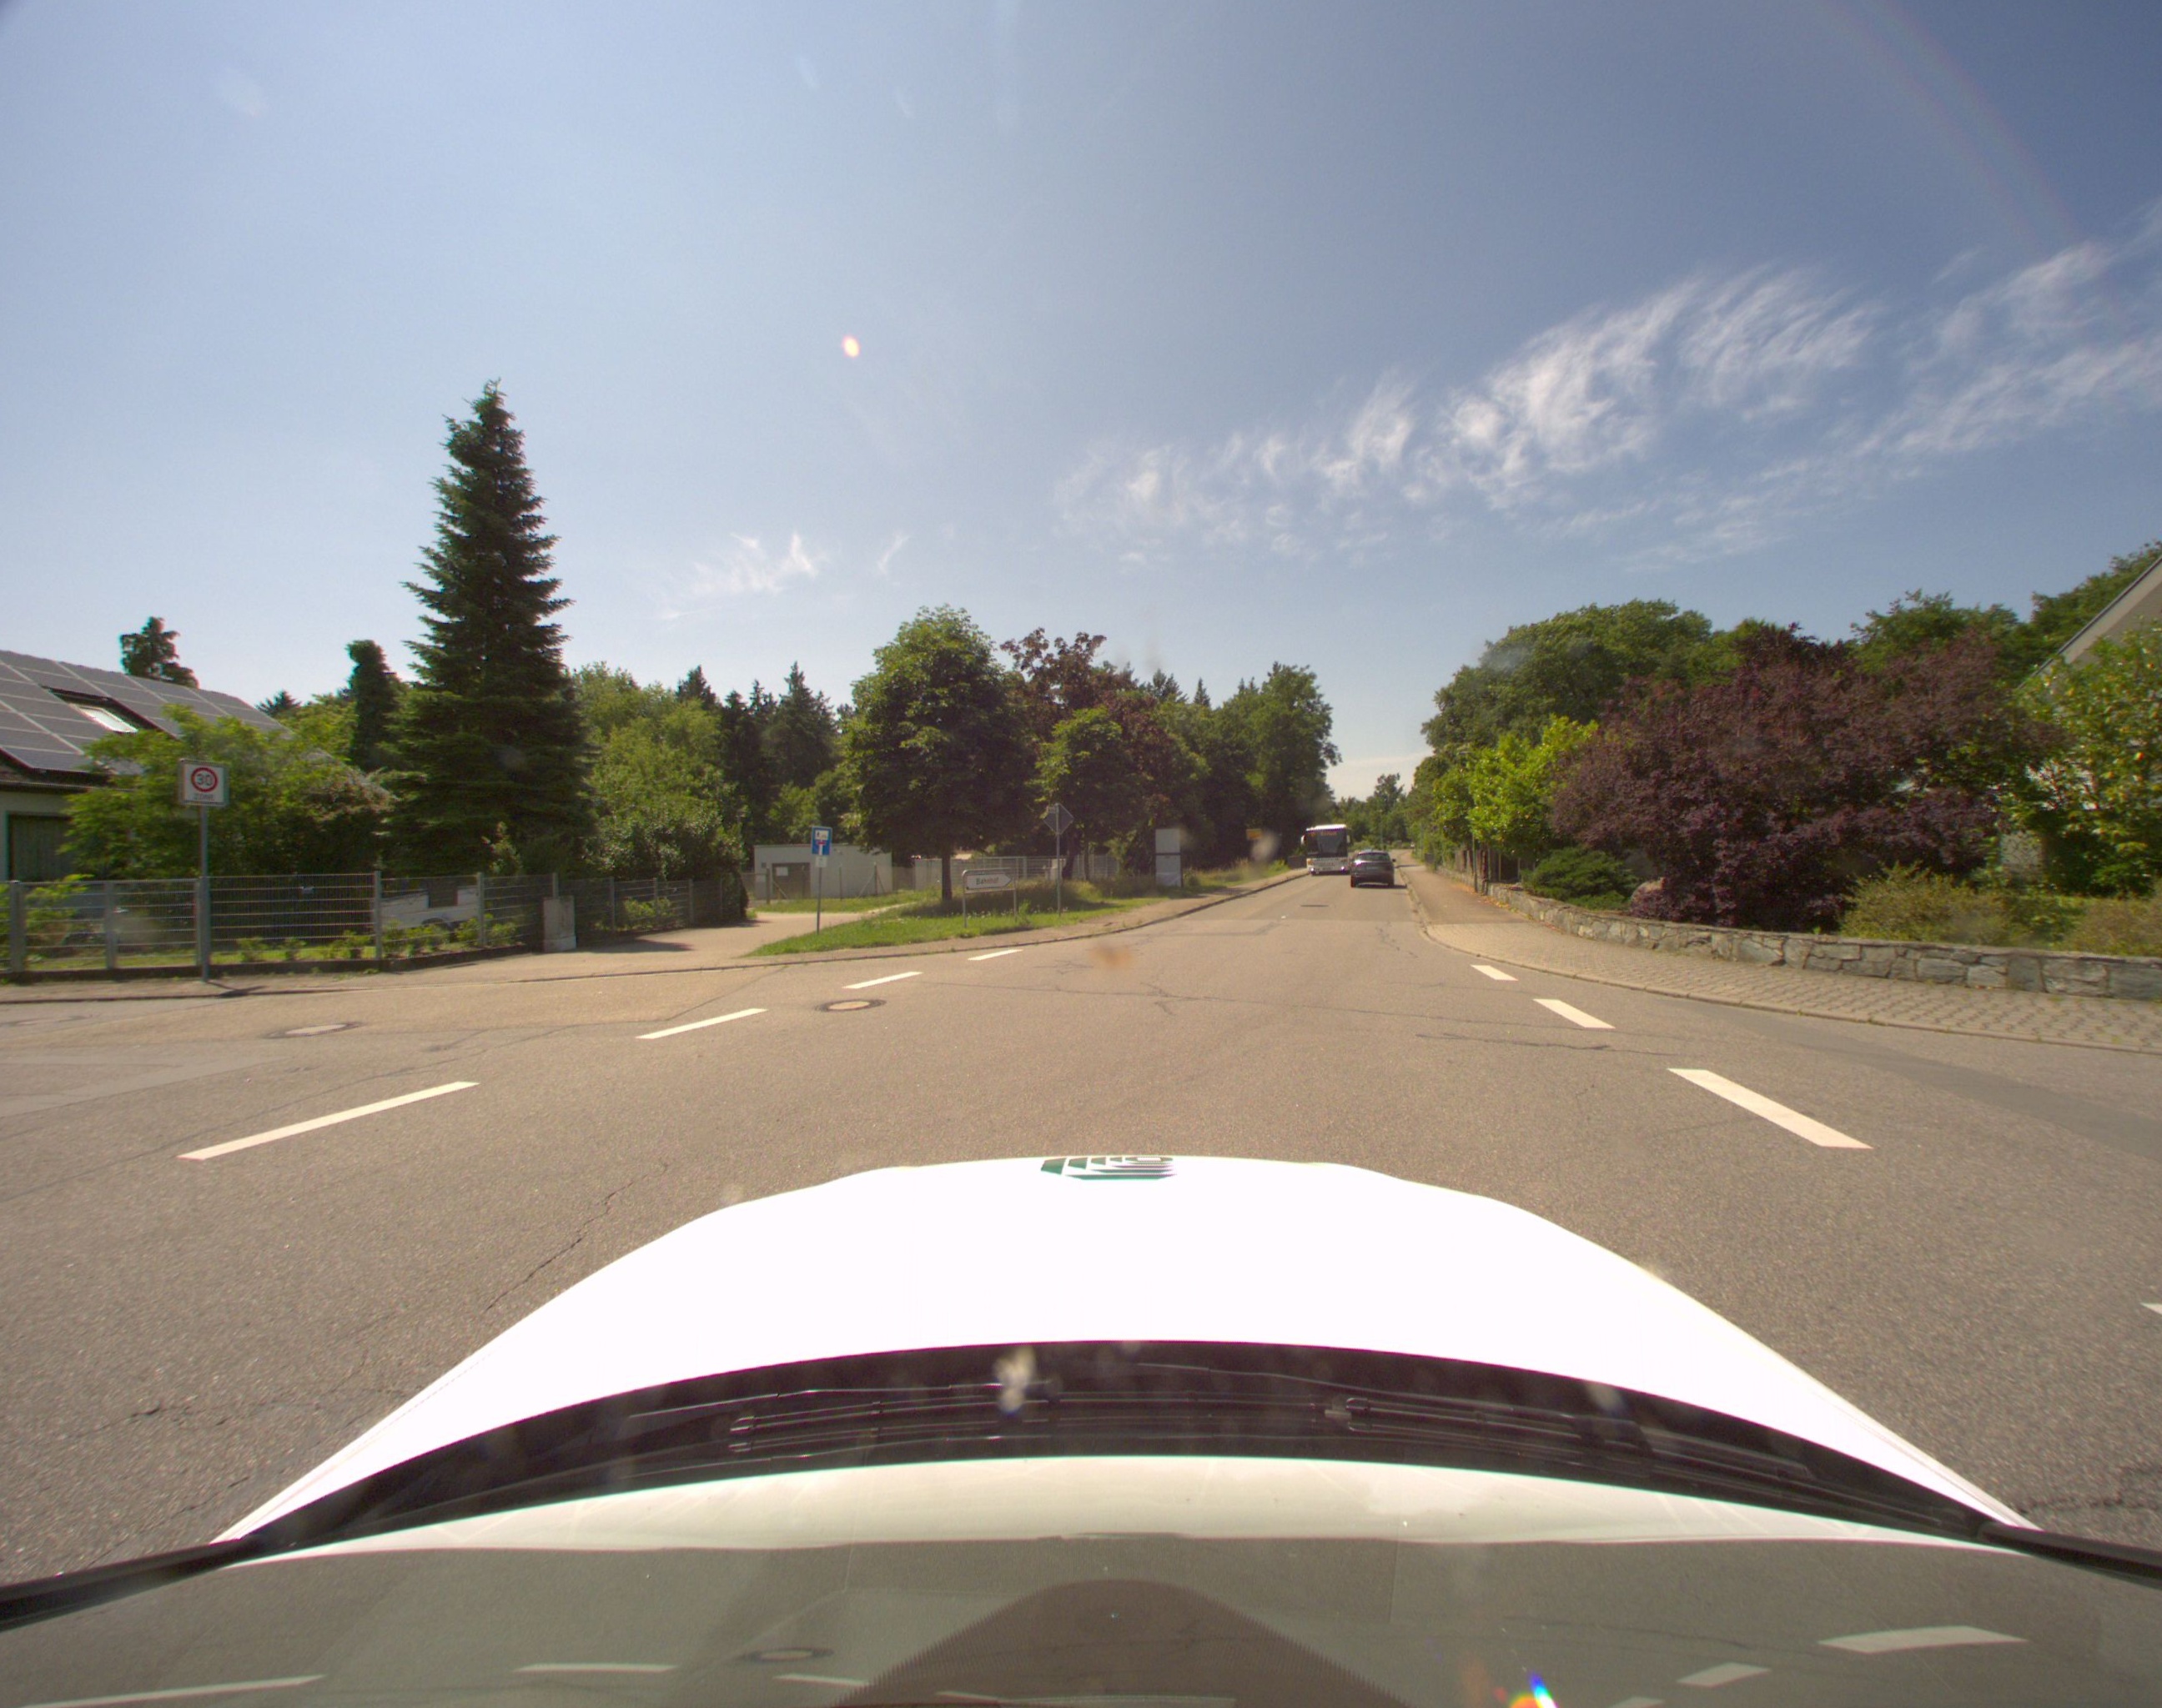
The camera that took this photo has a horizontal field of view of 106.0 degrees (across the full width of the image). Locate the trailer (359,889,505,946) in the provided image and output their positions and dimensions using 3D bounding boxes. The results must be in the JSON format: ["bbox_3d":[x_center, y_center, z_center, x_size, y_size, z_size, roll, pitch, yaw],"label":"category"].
[{"bbox_3d":[-14.217,1.373,17.919,2.217,1.084,1.101,-1,0,-13],"label":"trailer"}]

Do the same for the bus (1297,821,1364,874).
[{"bbox_3d":[17.700,-0.442,57.049,3.153,3.244,12.781,-1,0,23],"label":"bus"}]

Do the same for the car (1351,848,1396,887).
[{"bbox_3d":[12.965,0.566,35.961,1.747,1.618,4.021,0,0,22],"label":"car"}]

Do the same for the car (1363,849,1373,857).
[{"bbox_3d":[64.924,-0.238,184.556,1.935,1.860,4.018,-1,0,17],"label":"car"}]
